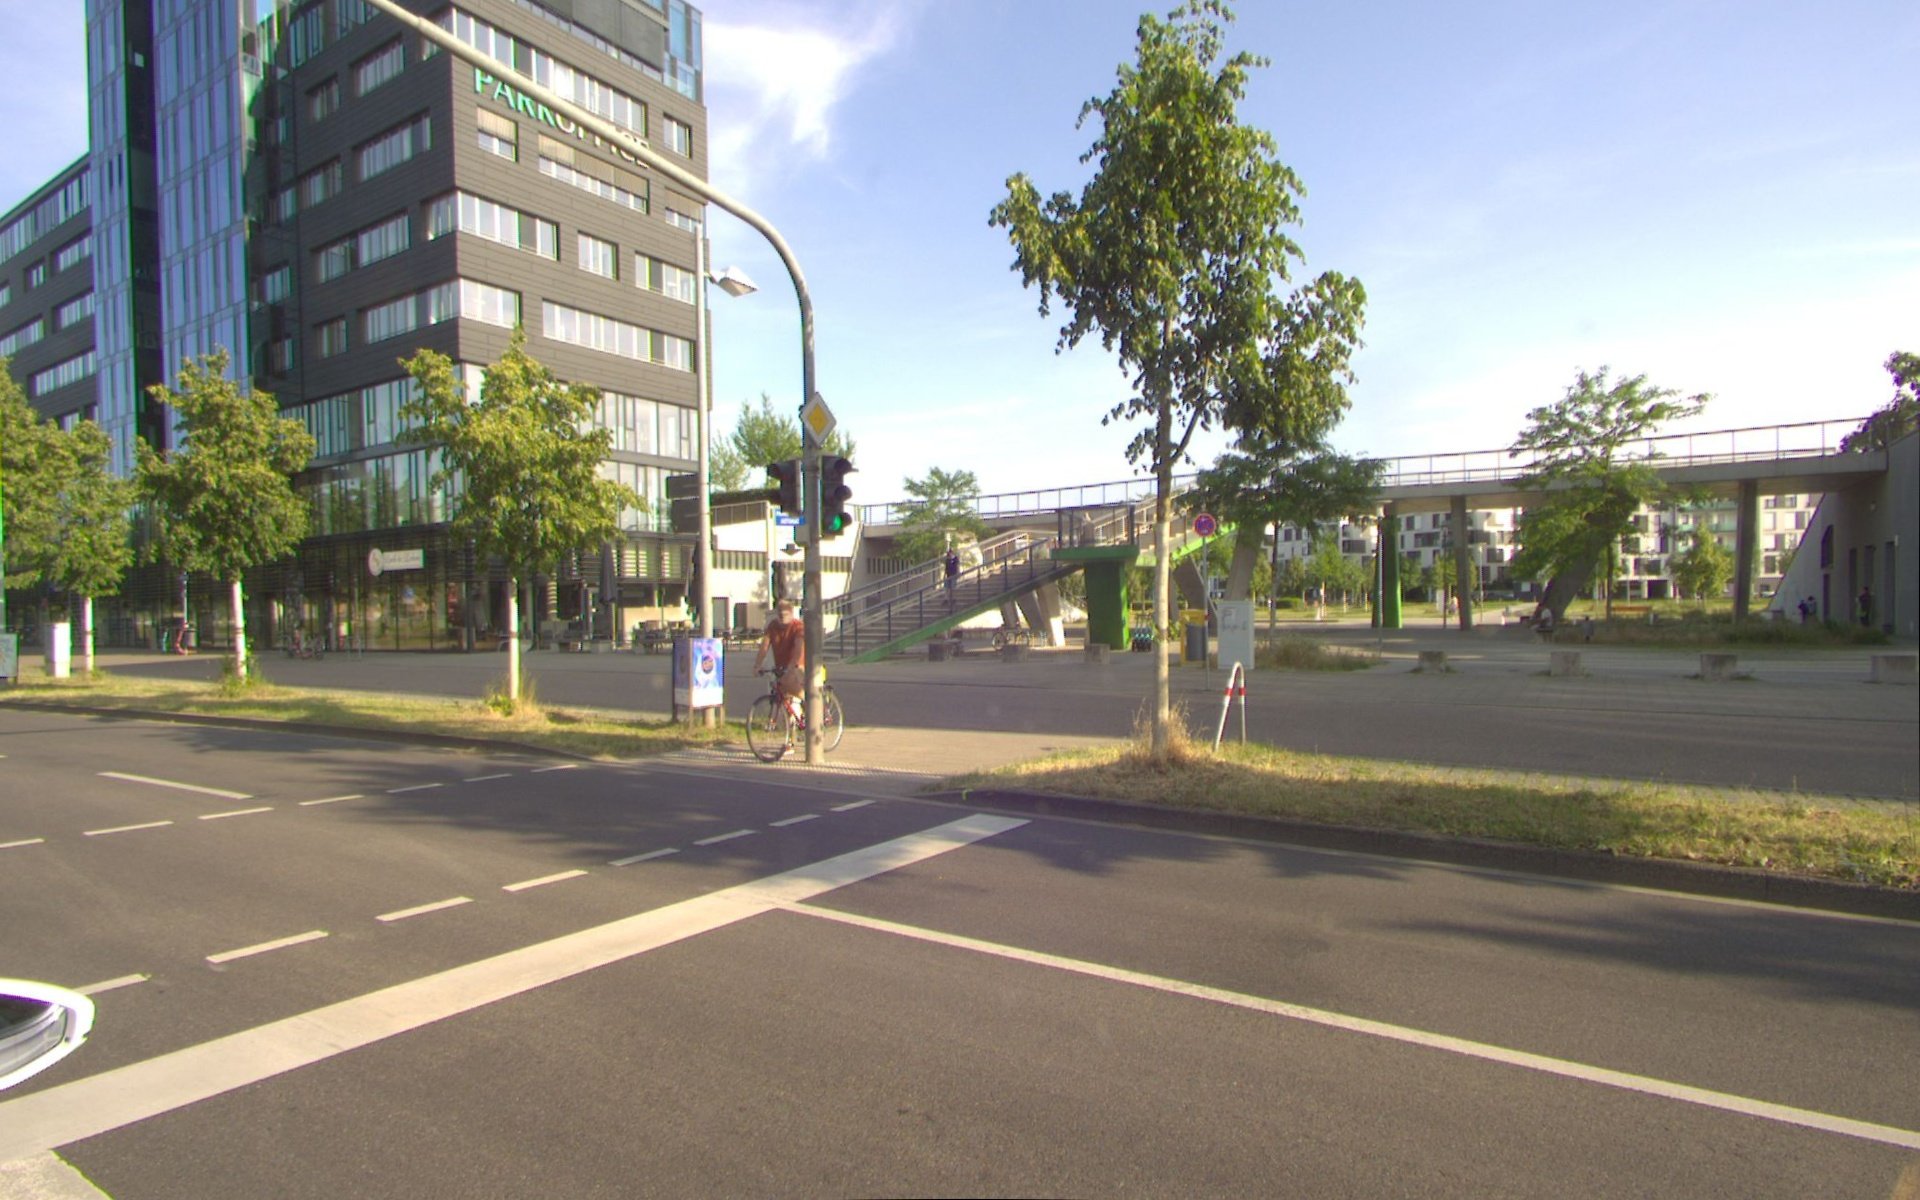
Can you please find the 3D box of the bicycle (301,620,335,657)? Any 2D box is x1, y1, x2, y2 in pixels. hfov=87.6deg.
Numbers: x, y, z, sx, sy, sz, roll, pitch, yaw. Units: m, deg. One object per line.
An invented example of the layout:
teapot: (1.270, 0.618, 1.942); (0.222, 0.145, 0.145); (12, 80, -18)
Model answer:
bicycle: (-24.146, 1.440, 37.664); (1.868, 1.363, 0.372); (-2, -2, 34)

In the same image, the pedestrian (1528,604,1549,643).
pedestrian: (19.988, 0.812, 34.581); (0.573, 1.310, 0.595); (-1, -2, 33)

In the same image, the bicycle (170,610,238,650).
bicycle: (-34.227, 1.356, 45.369); (0.548, 1.768, 2.422); (-1, -2, 42)

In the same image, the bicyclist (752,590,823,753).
bicyclist: (-1.894, 0.778, 11.030); (0.532, 1.728, 0.574); (-1, -1, 28)

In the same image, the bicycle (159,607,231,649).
bicycle: (-35.078, 1.291, 45.956); (0.563, 1.881, 2.551); (-1, -2, 42)

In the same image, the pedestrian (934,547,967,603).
pedestrian: (-0.299, -0.768, 31.299); (0.689, 1.713, 0.779); (1, -2, -44)

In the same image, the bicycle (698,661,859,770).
bicycle: (-1.919, 1.204, 10.974); (0.562, 1.025, 2.134); (-1, -2, 27)
